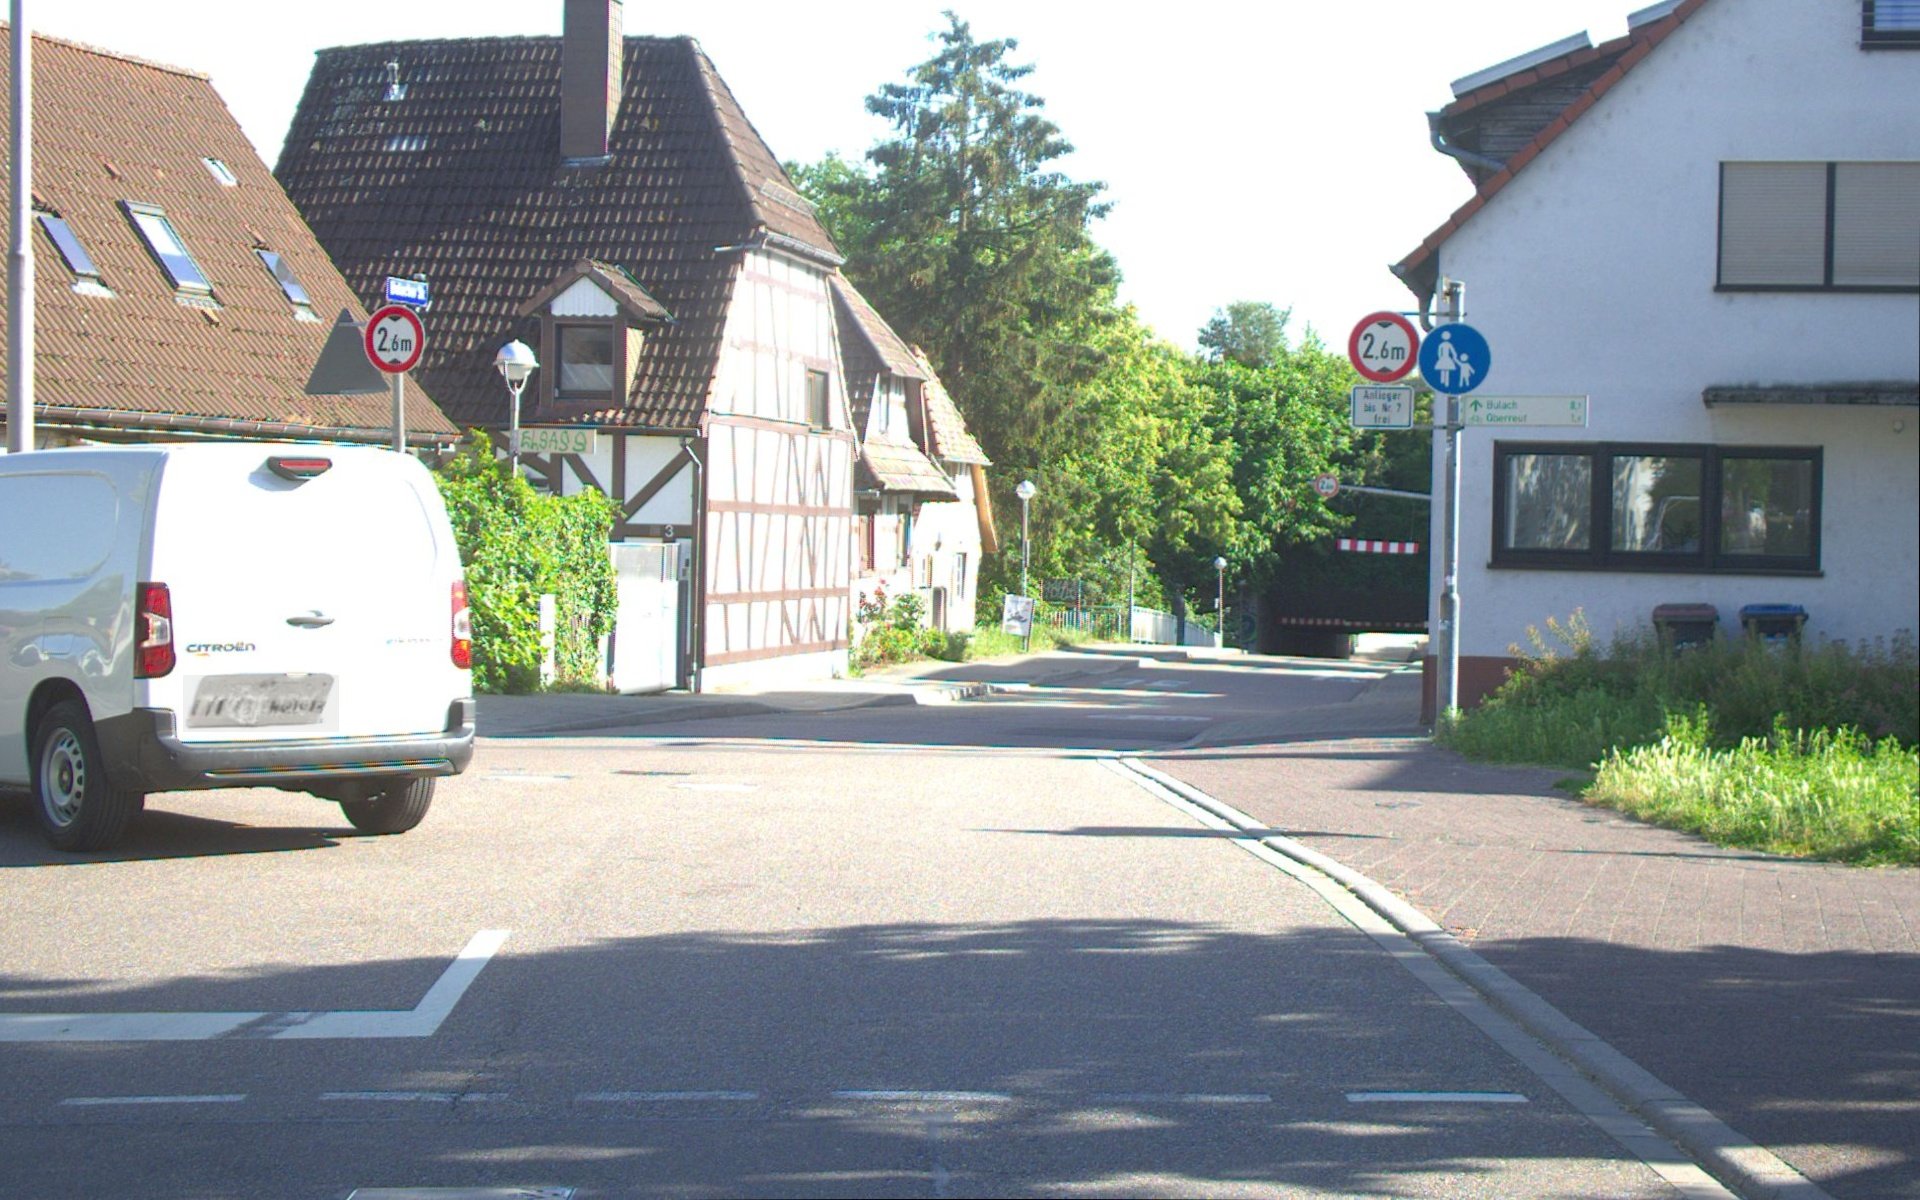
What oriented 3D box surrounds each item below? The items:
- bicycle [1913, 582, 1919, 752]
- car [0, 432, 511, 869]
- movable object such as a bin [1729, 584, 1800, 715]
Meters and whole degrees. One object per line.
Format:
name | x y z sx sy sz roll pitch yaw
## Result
bicycle | 8.101 0.529 25.756 1.737 1.279 0.700 2 0 8
car | -4.201 0.131 16.873 1.957 1.841 4.559 -1 2 -37
movable object such as a bin | 7.137 0.431 30.526 0.527 1.119 0.748 2 1 9
